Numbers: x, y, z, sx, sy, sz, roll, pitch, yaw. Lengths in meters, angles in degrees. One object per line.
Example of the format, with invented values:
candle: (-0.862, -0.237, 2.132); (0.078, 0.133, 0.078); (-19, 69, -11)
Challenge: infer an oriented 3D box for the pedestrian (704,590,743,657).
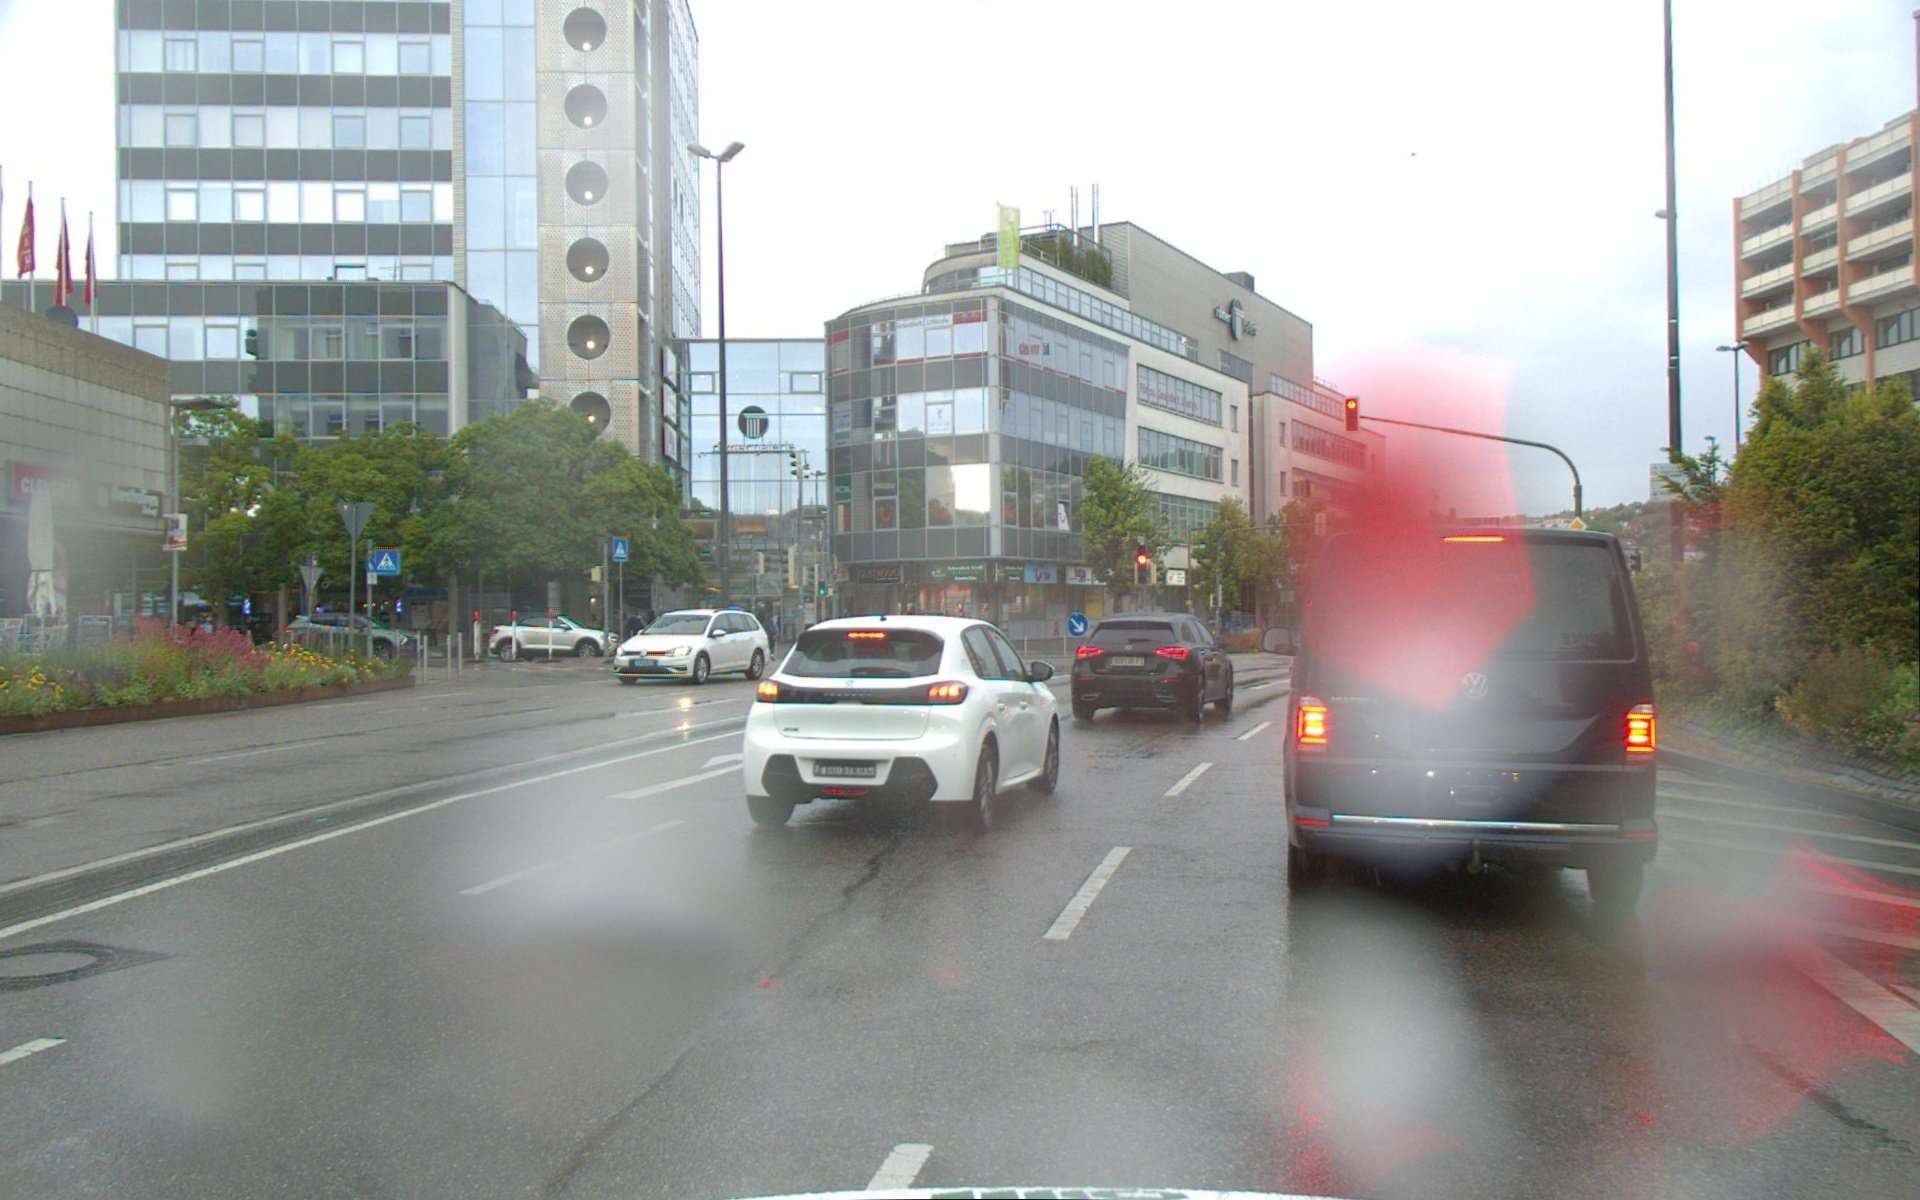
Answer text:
pedestrian: (-7.368, 0.726, 51.463); (1.141, 2.049, 1.325); (0, -1, -10)

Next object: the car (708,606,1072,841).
car: (-0.343, 0.792, 12.546); (1.832, 1.488, 3.876); (0, 0, 12)

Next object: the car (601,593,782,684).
car: (-5.395, 0.746, 33.849); (1.846, 1.712, 4.508); (0, 0, 17)

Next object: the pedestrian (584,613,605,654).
pedestrian: (-17.163, 1.578, 77.667); (0.743, 1.901, 0.825); (-1, -1, -30)

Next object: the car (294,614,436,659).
car: (-19.551, 1.180, 54.464); (3.961, 1.445, 1.871); (0, 0, 3)

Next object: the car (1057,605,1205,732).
car: (2.505, 0.899, 23.507); (1.777, 1.556, 3.816); (2, 1, 10)

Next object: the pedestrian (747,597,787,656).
pedestrian: (-6.127, 0.844, 52.535); (0.829, 1.851, 1.023); (-2, -1, 28)

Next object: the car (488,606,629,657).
car: (-13.023, 1.007, 53.780); (4.105, 1.623, 1.870); (0, 0, 1)

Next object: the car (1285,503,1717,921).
car: (3.021, 0.544, 10.083); (1.953, 1.927, 4.590); (0, -1, 12)

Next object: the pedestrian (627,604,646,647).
pedestrian: (-15.372, 1.213, 78.557); (0.747, 2.049, 0.714); (0, -1, -1)
